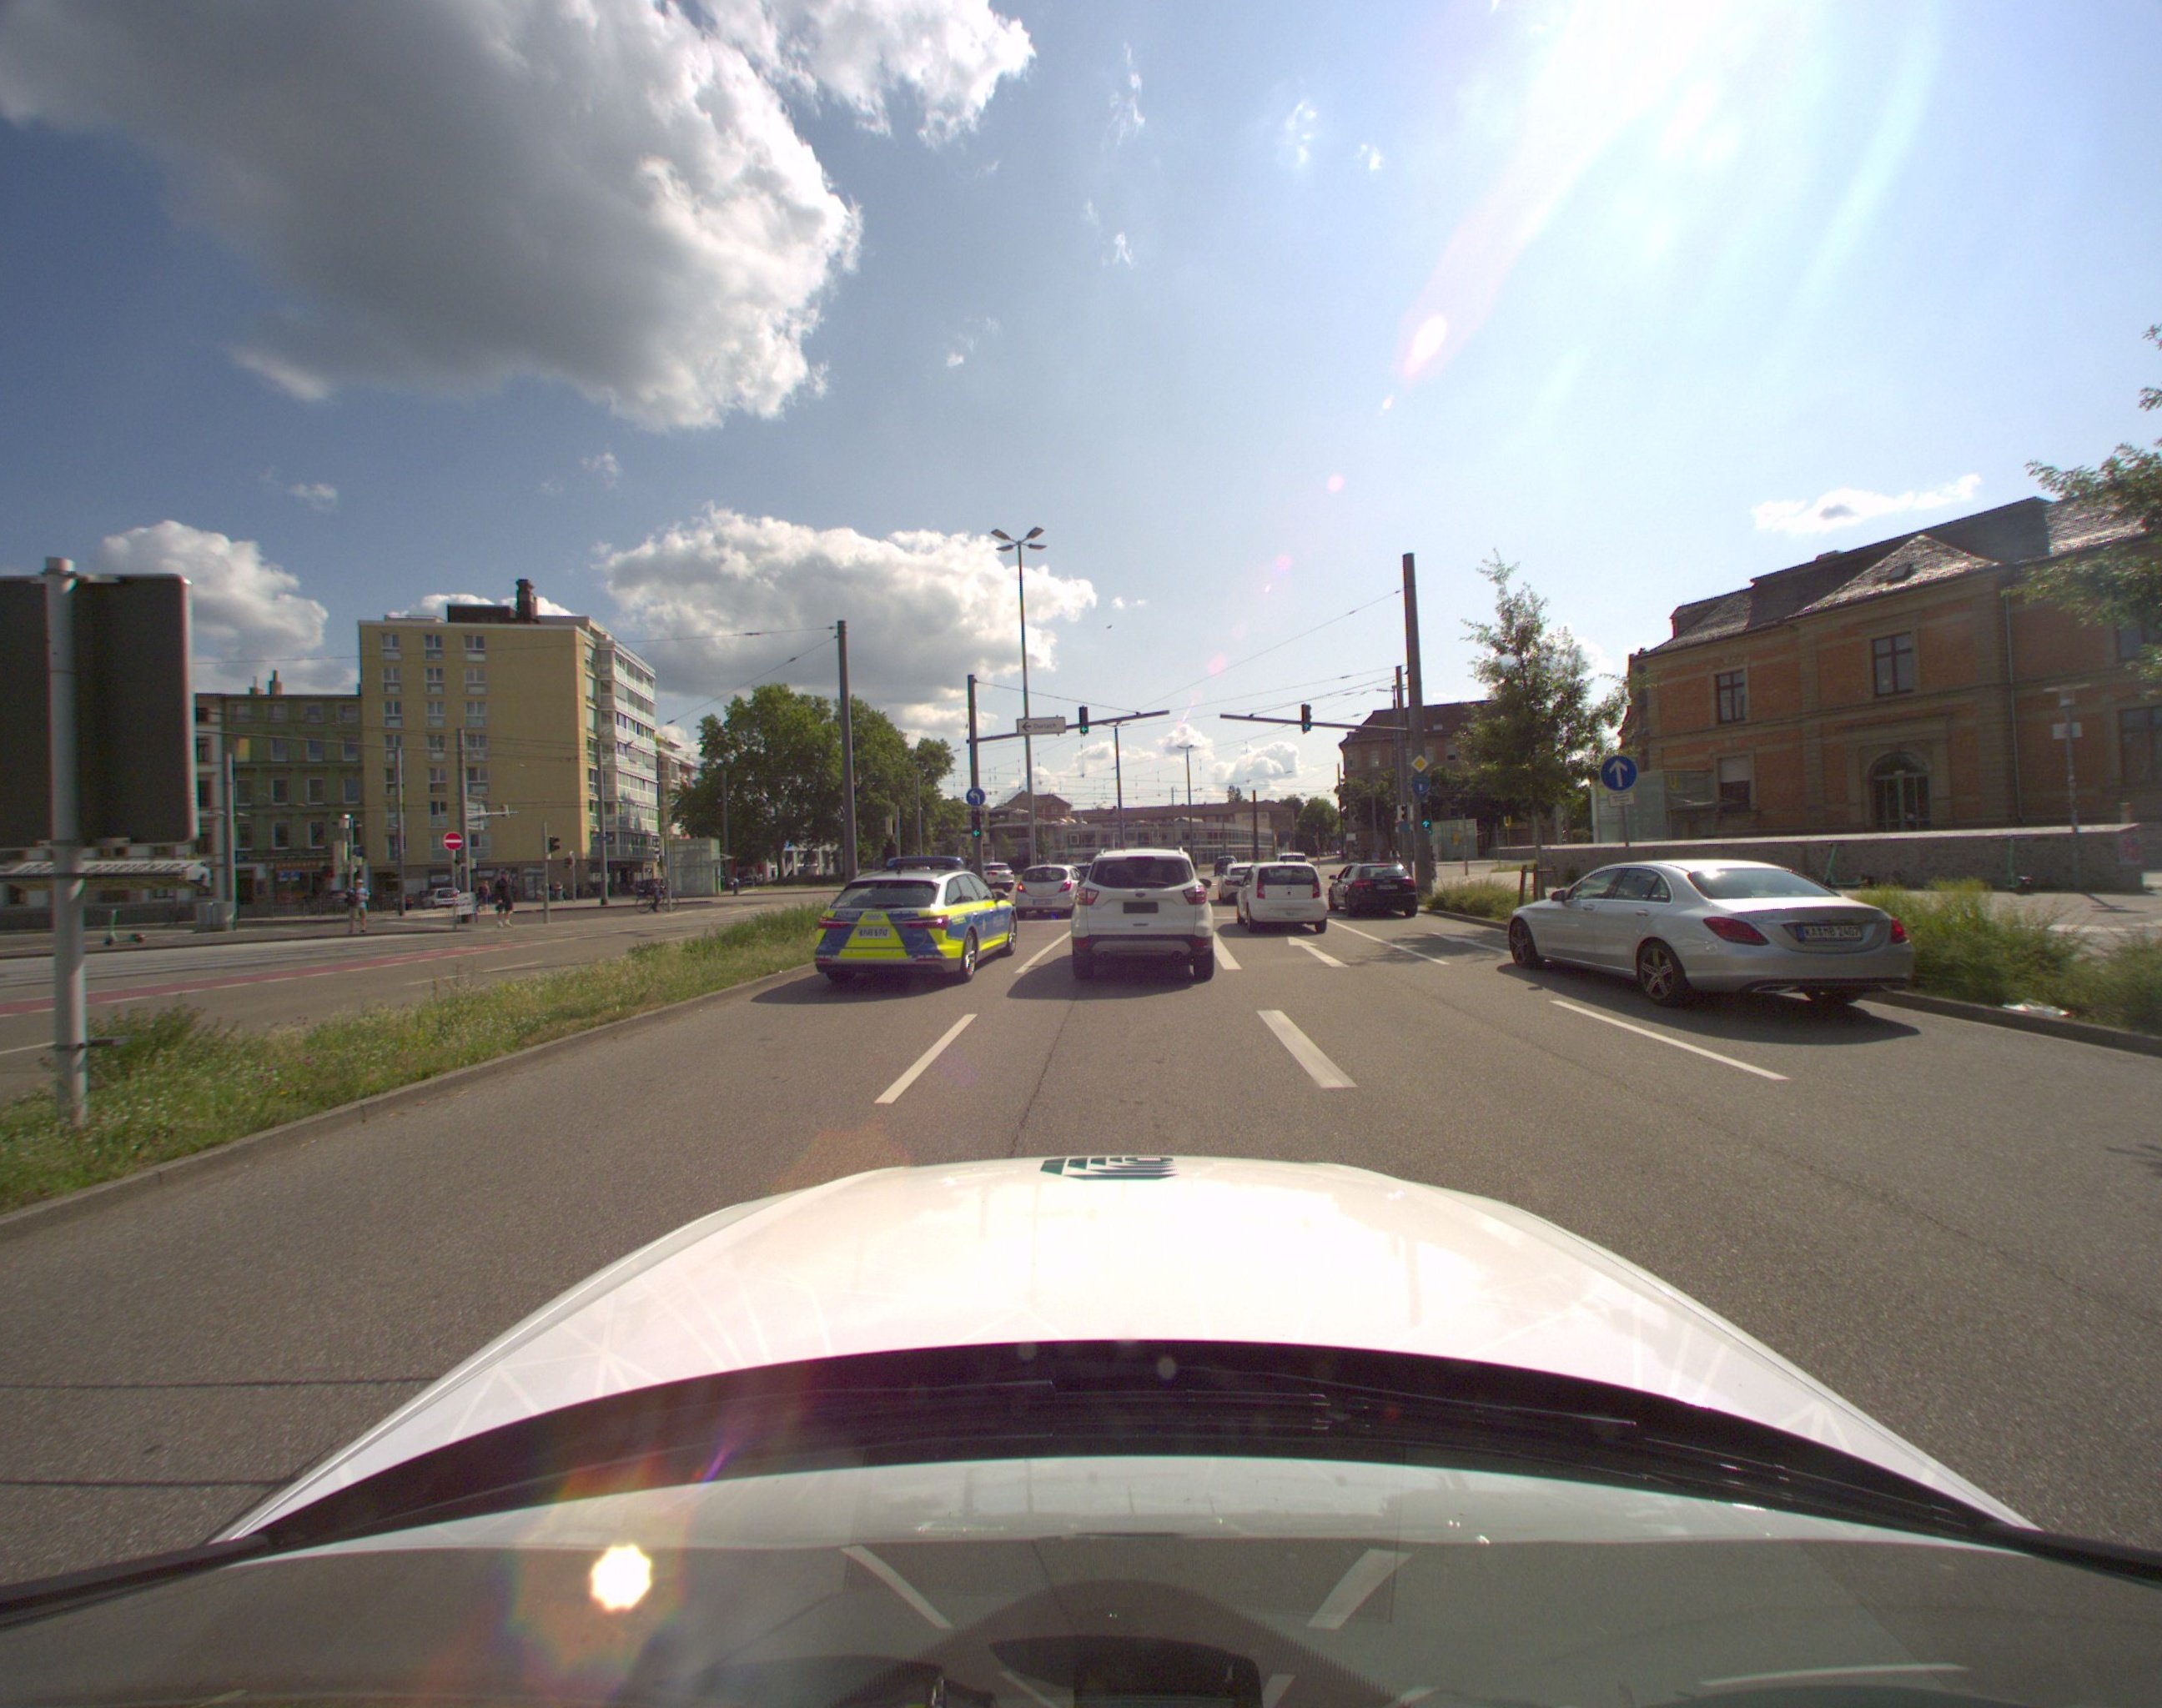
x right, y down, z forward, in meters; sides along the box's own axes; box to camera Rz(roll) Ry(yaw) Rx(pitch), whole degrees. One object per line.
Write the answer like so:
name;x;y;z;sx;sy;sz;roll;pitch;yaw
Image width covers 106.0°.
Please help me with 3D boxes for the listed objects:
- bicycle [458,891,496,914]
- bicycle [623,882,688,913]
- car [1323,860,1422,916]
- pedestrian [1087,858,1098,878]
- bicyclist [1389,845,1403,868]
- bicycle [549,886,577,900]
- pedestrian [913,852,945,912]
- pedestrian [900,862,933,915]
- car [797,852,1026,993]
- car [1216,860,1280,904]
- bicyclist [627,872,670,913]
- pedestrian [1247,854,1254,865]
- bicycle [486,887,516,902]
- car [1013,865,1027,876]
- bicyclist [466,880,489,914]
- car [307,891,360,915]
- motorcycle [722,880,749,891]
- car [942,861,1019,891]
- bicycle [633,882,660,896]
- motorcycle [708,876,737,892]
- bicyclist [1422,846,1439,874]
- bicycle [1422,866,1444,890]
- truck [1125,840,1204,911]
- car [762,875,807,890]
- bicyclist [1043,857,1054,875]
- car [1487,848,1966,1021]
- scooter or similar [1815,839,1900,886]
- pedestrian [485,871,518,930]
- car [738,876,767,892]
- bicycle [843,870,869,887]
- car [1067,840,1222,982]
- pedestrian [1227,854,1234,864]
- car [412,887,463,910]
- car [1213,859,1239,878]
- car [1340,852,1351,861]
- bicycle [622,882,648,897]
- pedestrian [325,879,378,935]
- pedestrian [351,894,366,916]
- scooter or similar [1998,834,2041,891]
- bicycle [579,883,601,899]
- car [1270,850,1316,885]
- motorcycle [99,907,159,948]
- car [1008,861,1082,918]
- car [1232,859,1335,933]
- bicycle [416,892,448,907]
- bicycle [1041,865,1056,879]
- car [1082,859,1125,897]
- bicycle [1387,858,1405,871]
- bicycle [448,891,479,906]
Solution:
bicycle;-32.577;2.597;43.977;0.889;1.138;2.343;0;-1;-17
bicycle;-18.714;1.915;35.862;2.286;1.188;0.994;-3;-1;-1
car;7.891;0.871;22.412;1.689;1.372;4.141;-1;-1;7
pedestrian;1.043;1.261;73.100;0.918;1.744;0.590;-1;-1;8
bicyclist;20.152;0.188;52.081;0.605;1.451;0.775;-2;-1;4
bicycle;-42.587;3.201;66.953;1.808;1.104;0.792;-2;-1;-18
pedestrian;-5.040;0.917;27.009;0.844;1.917;0.692;-3;-2;1
pedestrian;-5.271;1.108;26.193;0.844;1.648;0.692;-3;-2;1
car;-2.127;0.810;11.721;1.871;1.568;4.622;-2;-1;6
car;5.916;0.963;29.265;1.841;1.419;3.684;-1;-1;5
bicyclist;-19.015;1.671;35.864;1.293;1.731;0.994;-3;-1;-1
pedestrian;30.174;1.029;144.848;0.866;1.922;0.882;-1;-2;35
bicycle;-46.997;3.312;66.044;1.808;1.104;0.792;-2;-1;-18
car;-8.877;2.417;119.181;1.814;1.534;3.913;-4;-2;-2
bicyclist;-32.610;2.296;44.022;0.779;1.797;0.706;0;-1;-17
car;-51.652;3.371;56.274;3.849;1.497;1.912;-4;-2;35
motorcycle;-31.611;2.885;74.513;0.801;0.917;2.057;-3;0;39
car;-5.644;1.228;45.236;2.057;1.578;4.485;-1;-1;-41
bicycle;-38.241;3.092;71.744;1.948;1.147;0.792;-2;-1;-17
motorcycle;-30.653;2.599;69.649;2.193;1.238;0.910;-3;0;19
bicyclist;16.384;0.268;38.147;0.629;1.220;0.929;-4;-1;25
bicycle;16.423;1.102;38.017;0.839;0.970;1.972;-5;-1;24
truck;2.970;0.691;27.717;2.325;2.155;5.866;-1;-1;9
car;-30.652;2.985;84.239;3.975;1.327;1.632;-3;-2;-1
bicyclist;-3.091;1.133;77.617;0.753;1.683;0.764;-3;-1;16
car;6.729;0.719;9.391;1.922;1.455;4.762;-1;-1;3
scooter or similar;19.254;0.216;20.234;0.466;1.118;1.438;-3;0;-18
pedestrian;-19.163;1.524;26.949;0.770;1.903;0.819;0;-2;-30
car;-32.691;2.986;81.142;1.906;1.413;3.986;-3;-2;-10
bicycle;-19.993;2.152;72.343;2.171;1.414;0.808;-1;0;-14
car;0.944;0.709;11.698;1.818;1.664;3.961;-1;-1;5
pedestrian;25.496;0.850;138.946;0.866;1.737;0.882;-2;-2;37
car;-46.147;3.197;58.401;3.849;1.497;1.912;-4;-2;36
car;11.161;1.099;62.698;1.839;1.419;3.688;-2;-1;9
car;53.501;0.555;164.593;1.820;1.652;4.021;-2;-1;22
bicycle;-38.552;3.056;70.447;1.808;1.147;0.792;-2;-1;-17
pedestrian;-24.245;1.741;27.082;0.761;1.798;1.030;-1;-1;5
pedestrian;-52.282;3.684;58.938;0.548;1.534;0.704;-4;-1;45
scooter or similar;19.556;0.168;16.981;1.326;1.104;0.460;-3;0;-44
bicycle;-41.511;3.130;68.824;0.792;1.259;1.808;-2;-1;-2
car;10.819;0.685;41.801;1.826;1.652;4.009;-2;-1;8
motorcycle;-30.799;2.362;26.351;1.436;1.237;0.484;-3;-2;3
car;-0.966;0.999;24.046;1.841;1.475;4.001;-2;-1;2
car;4.481;0.872;18.530;1.641;1.422;4.006;-3;0;5
bicycle;-51.520;3.612;64.692;1.808;1.104;0.792;-2;-1;-18
bicycle;-3.085;1.714;77.531;0.753;1.192;2.160;-3;-1;16
car;1.007;1.061;37.184;1.756;1.568;4.527;-2;-1;1
bicycle;20.142;0.666;52.131;0.582;0.776;1.623;-2;-1;3
bicycle;-49.569;3.536;65.361;1.808;1.104;0.792;-2;-1;-18
